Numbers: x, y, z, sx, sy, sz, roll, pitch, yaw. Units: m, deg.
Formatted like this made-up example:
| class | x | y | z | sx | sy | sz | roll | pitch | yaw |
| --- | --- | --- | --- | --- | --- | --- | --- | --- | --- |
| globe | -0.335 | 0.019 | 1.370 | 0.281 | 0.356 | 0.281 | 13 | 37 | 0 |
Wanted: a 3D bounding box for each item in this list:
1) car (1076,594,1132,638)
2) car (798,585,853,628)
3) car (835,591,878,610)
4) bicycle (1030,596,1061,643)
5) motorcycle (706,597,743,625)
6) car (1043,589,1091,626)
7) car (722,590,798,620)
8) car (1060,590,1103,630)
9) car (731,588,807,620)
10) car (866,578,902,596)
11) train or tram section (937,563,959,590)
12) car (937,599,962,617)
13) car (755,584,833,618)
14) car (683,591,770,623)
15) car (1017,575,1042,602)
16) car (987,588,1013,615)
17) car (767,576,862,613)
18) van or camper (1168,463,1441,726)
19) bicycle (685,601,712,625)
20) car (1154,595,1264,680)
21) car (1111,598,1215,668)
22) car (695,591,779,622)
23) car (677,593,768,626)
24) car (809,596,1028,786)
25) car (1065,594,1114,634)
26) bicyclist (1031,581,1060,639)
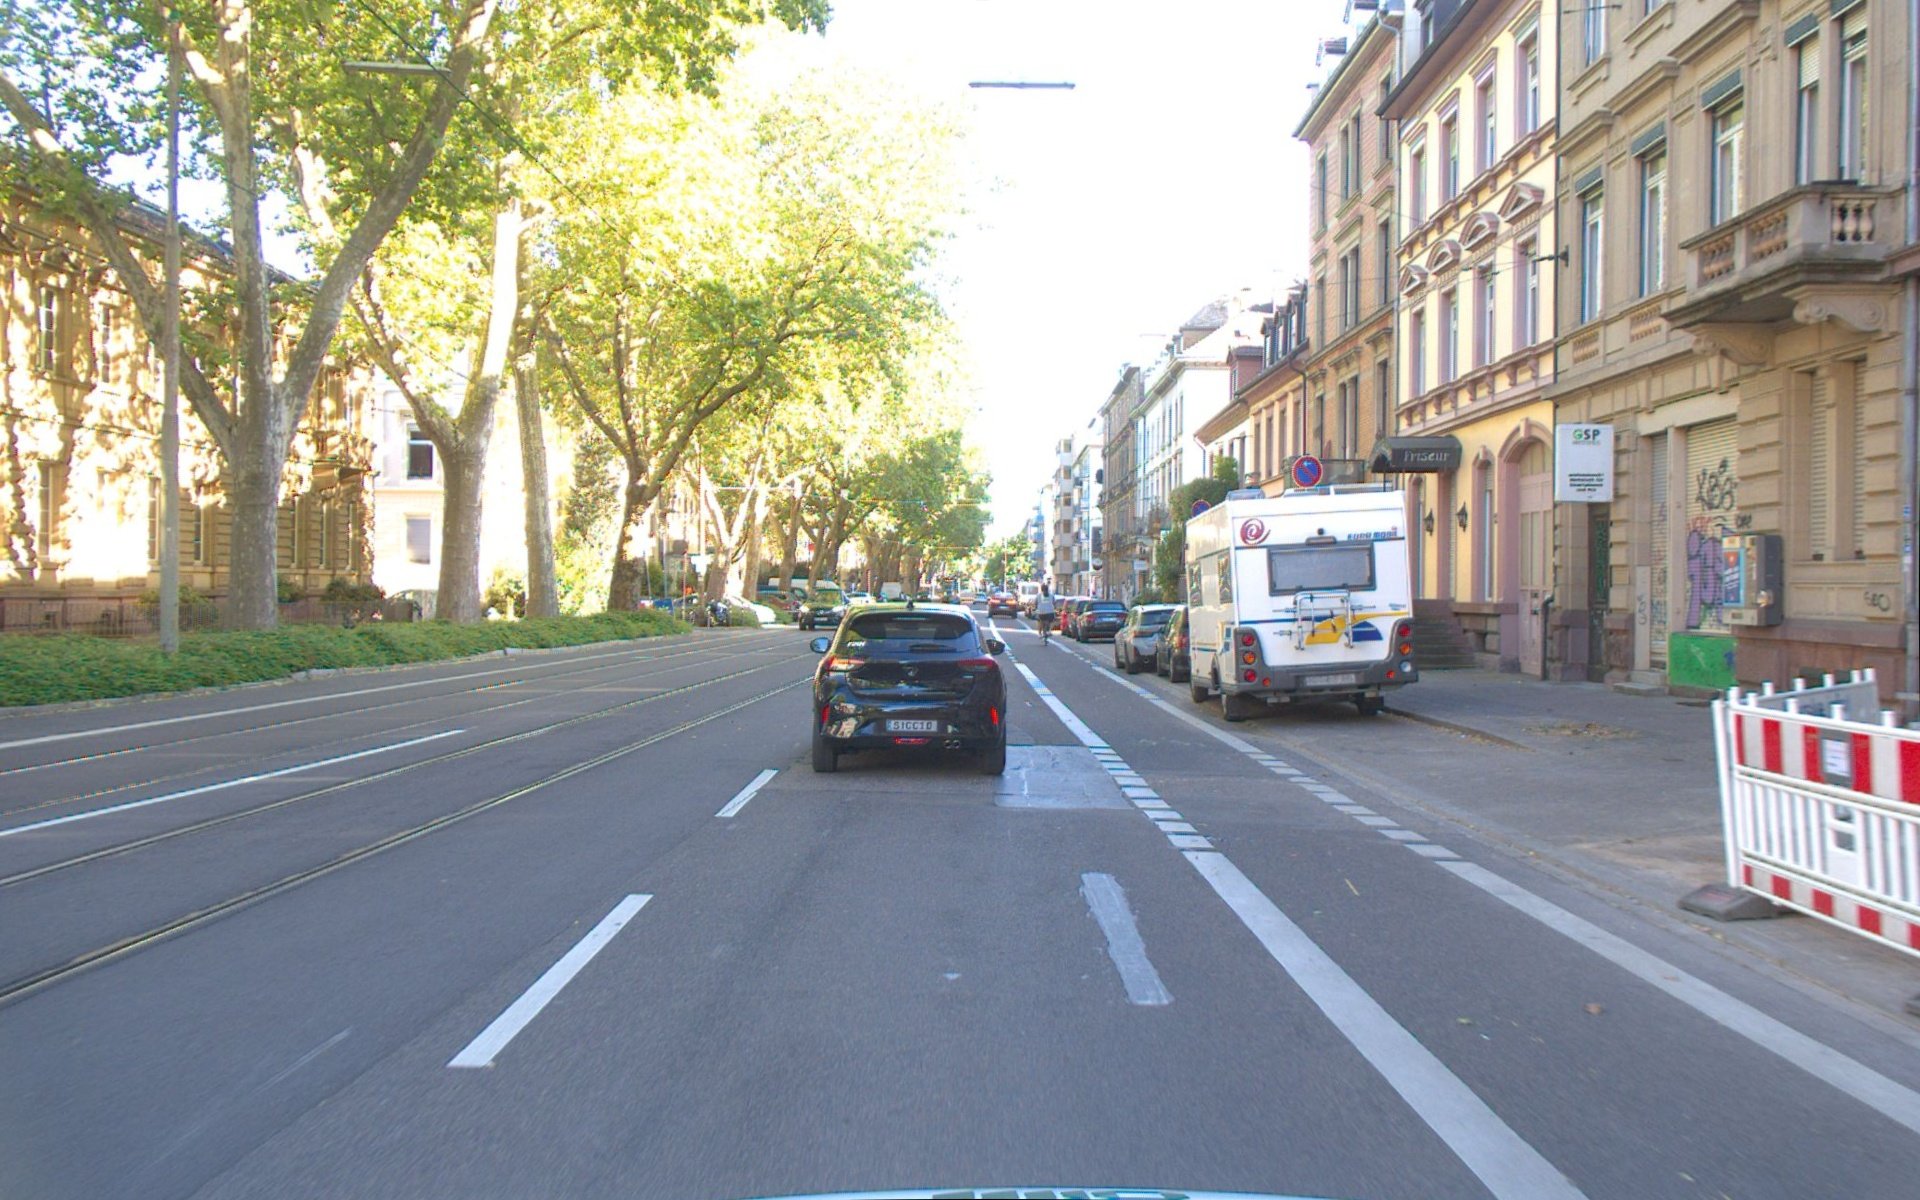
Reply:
| class | x | y | z | sx | sy | sz | roll | pitch | yaw |
| --- | --- | --- | --- | --- | --- | --- | --- | --- | --- |
| car | 4.881 | 0.508 | 56.435 | 1.658 | 1.417 | 4.496 | -1 | 0 | 2 |
| car | -5.447 | 0.245 | 67.433 | 1.828 | 1.658 | 4.561 | 0 | 1 | 1 |
| car | -9.360 | 0.045 | 149.709 | 3.841 | 1.524 | 1.676 | 2 | 0 | -2 |
| bicycle | 2.668 | 0.603 | 51.882 | 0.843 | 1.431 | 2.524 | 1 | 0 | 0 |
| motorcycle | -9.953 | 0.455 | 69.972 | 0.865 | 1.167 | 2.392 | 1 | 0 | 9 |
| car | 5.120 | 0.348 | 79.713 | 1.842 | 1.613 | 3.931 | -3 | 0 | -2 |
| car | -10.825 | 0.276 | 89.608 | 3.839 | 1.467 | 1.749 | 2 | 0 | 1 |
| car | 4.997 | 0.394 | 68.243 | 1.600 | 1.574 | 3.577 | -1 | 0 | 2 |
| car | -10.574 | 0.207 | 91.877 | 3.912 | 1.655 | 1.879 | 2 | 0 | 1 |
| car | -8.316 | -1.419 | 180.213 | 3.841 | 1.821 | 1.676 | 2 | 0 | -2 |
| train or tram section | -1.657 | -3.398 | 240.194 | 2.678 | 3.746 | 12.719 | 0 | 0 | 2 |
| car | -0.807 | 0.587 | 123.846 | 1.773 | 1.361 | 3.932 | 1 | 0 | -1 |
| car | -10.407 | 0.044 | 103.696 | 4.578 | 1.957 | 1.980 | 2 | 0 | 2 |
| car | -11.041 | 0.334 | 78.363 | 3.840 | 1.478 | 1.800 | 1 | 0 | 1 |
| car | 6.130 | -1.035 | 146.423 | 2.032 | 2.257 | 4.934 | -3 | 0 | 2 |
| car | 2.751 | 0.089 | 112.956 | 1.772 | 1.772 | 3.934 | 0 | 0 | 2 |
| car | -10.394 | -0.378 | 118.810 | 6.491 | 2.451 | 2.458 | 2 | 0 | 1 |
| van or camper | 4.625 | -0.074 | 23.794 | 2.426 | 3.023 | 7.886 | -3 | 0 | 2 |
| bicycle | -11.050 | 0.548 | 69.864 | 0.529 | 0.957 | 2.036 | 1 | 0 | 9 |
| car | 4.791 | 0.680 | 32.274 | 1.611 | 1.459 | 4.030 | -3 | 0 | 2 |
| car | 4.483 | 0.691 | 37.124 | 1.772 | 1.460 | 4.665 | -1 | 0 | 0 |
| car | -10.904 | 0.335 | 81.121 | 3.839 | 1.488 | 1.806 | 0 | 0 | 1 |
| car | -10.857 | 0.422 | 75.699 | 3.839 | 1.355 | 1.848 | 2 | 0 | 1 |
| car | -0.318 | 0.732 | 15.185 | 1.757 | 1.466 | 3.532 | 1 | 1 | 1 |
| car | 4.962 | 0.509 | 63.720 | 1.617 | 1.482 | 3.869 | -1 | 0 | 1 |
| bicyclist | 2.680 | 0.307 | 51.932 | 0.830 | 1.770 | 1.162 | 1 | 0 | 0 |
